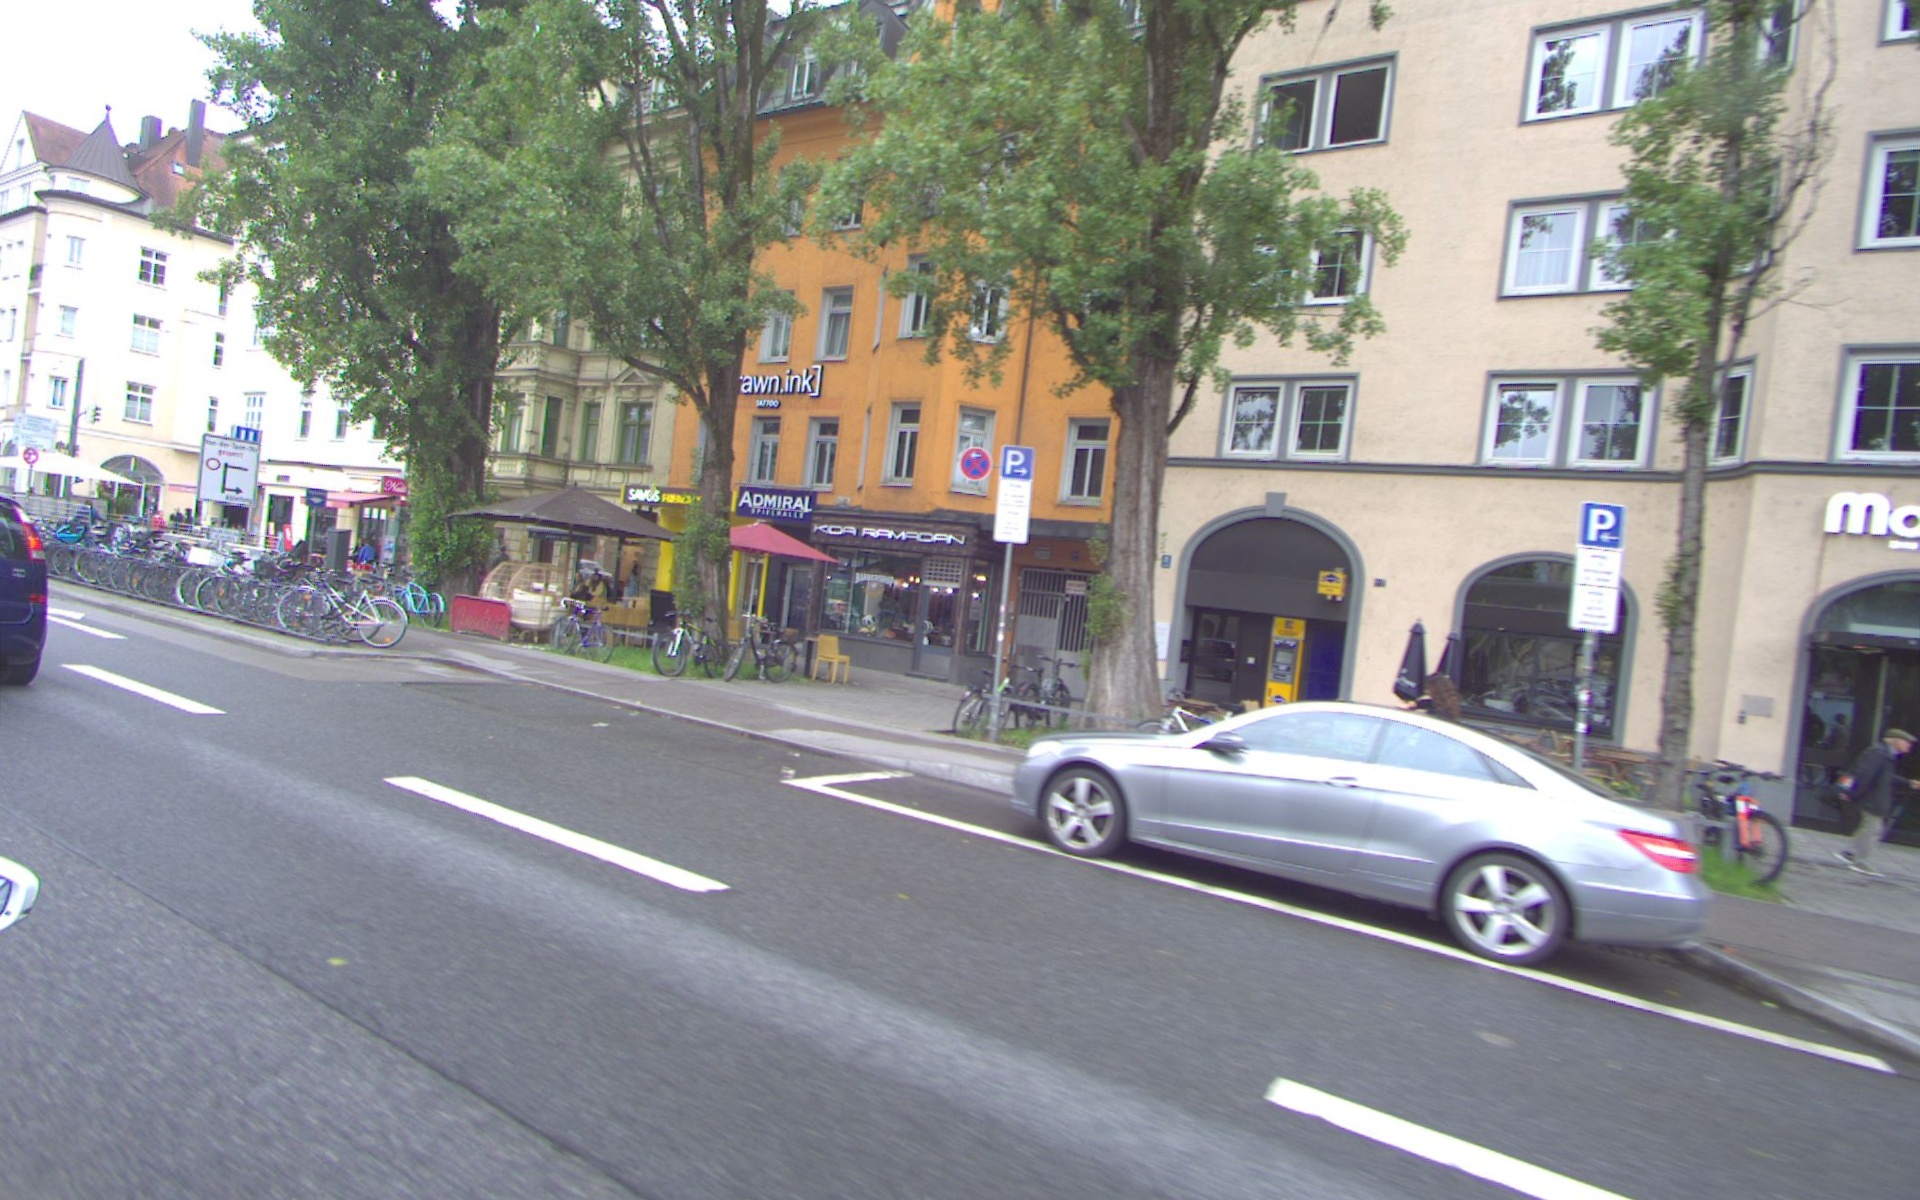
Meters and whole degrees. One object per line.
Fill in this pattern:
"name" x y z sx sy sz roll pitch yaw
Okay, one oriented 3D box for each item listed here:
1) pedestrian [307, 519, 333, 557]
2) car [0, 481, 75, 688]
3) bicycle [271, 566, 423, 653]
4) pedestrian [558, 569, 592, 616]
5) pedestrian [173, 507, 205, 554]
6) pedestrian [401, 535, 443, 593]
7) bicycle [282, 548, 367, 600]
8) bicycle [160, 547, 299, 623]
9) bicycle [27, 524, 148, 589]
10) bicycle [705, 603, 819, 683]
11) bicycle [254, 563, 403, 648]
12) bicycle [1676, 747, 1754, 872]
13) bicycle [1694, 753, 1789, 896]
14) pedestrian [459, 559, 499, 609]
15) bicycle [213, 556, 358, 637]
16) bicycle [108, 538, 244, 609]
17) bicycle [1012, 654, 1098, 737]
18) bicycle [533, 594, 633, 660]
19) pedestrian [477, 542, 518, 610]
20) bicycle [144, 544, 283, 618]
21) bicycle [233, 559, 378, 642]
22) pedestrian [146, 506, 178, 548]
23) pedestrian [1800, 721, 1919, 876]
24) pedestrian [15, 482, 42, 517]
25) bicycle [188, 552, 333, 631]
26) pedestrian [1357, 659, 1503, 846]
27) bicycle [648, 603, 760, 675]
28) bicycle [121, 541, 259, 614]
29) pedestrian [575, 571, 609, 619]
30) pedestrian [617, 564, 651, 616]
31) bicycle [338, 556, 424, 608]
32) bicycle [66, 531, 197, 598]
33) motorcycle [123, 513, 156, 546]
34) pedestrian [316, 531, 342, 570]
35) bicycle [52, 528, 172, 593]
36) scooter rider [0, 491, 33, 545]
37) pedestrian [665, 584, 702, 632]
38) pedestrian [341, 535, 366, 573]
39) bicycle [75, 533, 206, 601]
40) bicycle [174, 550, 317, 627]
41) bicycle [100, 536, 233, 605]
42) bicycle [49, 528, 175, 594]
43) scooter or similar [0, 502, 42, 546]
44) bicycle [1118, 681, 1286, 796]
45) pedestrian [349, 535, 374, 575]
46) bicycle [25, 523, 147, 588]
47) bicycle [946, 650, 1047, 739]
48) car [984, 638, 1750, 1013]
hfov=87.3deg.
"pedestrian" -25.509 -2.469 40.078 0.542 1.414 0.543 7 1 5
"car" -9.173 -0.329 8.371 3.498 1.609 1.705 7 -1 32
"bicycle" -9.024 0.148 14.842 1.811 1.008 0.375 9 1 -8
"pedestrian" -11.407 -0.229 29.792 0.573 1.296 0.584 7 1 31
"pedestrian" -28.716 -2.580 37.464 0.666 1.653 0.615 7 1 32
"pedestrian" -16.301 -1.087 30.484 0.773 1.653 0.711 7 1 32
"bicycle" -15.489 -0.623 24.573 0.380 1.058 1.727 9 0 26
"bicycle" -12.397 -0.252 17.116 1.814 1.008 0.374 9 1 -14
"bicycle" -17.343 -0.857 20.019 1.812 1.008 0.324 9 1 -12
"bicycle" -3.241 0.739 16.646 0.573 1.188 1.889 7 0 33
"bicycle" -9.530 0.089 15.217 1.811 1.008 0.375 9 1 -8
"bicycle" 8.211 2.238 10.985 0.440 1.123 1.799 7 -1 33
"bicycle" 7.284 2.043 9.429 0.440 1.122 1.801 7 -2 33
"pedestrian" -12.921 -0.427 27.017 0.655 1.237 0.601 7 1 32
"bicycle" -10.712 -0.051 16.019 1.813 1.008 0.374 9 1 -14
"bicycle" -14.159 -0.465 18.213 1.817 1.008 0.373 9 1 -21
"bicycle" 1.457 1.418 15.134 0.450 1.127 1.891 7 0 29
"bicycle" -6.427 0.453 17.110 1.862 0.903 0.457 7 1 31
"pedestrian" -12.654 -0.659 27.546 0.655 1.761 0.601 7 1 32
"bicycle" -12.987 -0.321 17.535 1.817 1.008 0.373 9 1 -21
"bicycle" -10.150 0.016 15.636 1.811 1.008 0.375 9 1 -8
"pedestrian" -29.519 -2.703 37.224 0.606 1.440 0.676 7 1 32
"pedestrian" 10.702 2.319 11.824 0.837 1.622 0.819 6 1 -19
"pedestrian" -49.849 -5.365 53.838 0.672 1.707 0.744 8 3 -14
"bicycle" -11.352 -0.130 16.378 1.815 1.008 0.374 9 1 -17
"pedestrian" 4.372 1.411 9.378 0.754 1.582 0.757 7 1 -28
"bicycle" -4.209 0.677 16.666 0.451 1.067 1.889 7 0 33
"bicycle" -13.570 -0.397 17.774 1.817 1.008 0.373 9 1 -21
"pedestrian" -10.722 -0.147 29.339 0.573 1.296 0.584 7 1 31
"pedestrian" -10.070 -0.309 31.094 0.574 1.493 0.625 7 1 34
"bicycle" -14.307 -0.439 24.908 0.382 1.058 1.720 9 0 42
"bicycle" -15.862 -0.670 19.297 1.820 1.008 0.323 9 1 -26
"motorcycle" -32.774 -2.817 40.177 1.545 1.171 0.487 7 1 33
"pedestrian" -22.641 -1.765 36.116 0.543 1.305 0.495 7 1 32
"bicycle" -16.747 -0.776 19.891 1.812 1.008 0.324 9 1 -11
"scooter rider" -26.655 -2.317 28.235 0.632 1.406 0.701 7 1 30
"pedestrian" -7.587 0.230 27.594 0.573 1.233 0.623 7 1 31
"pedestrian" -22.216 -1.675 36.848 0.543 1.305 0.495 7 1 32
"bicycle" -15.377 -0.615 18.917 1.817 1.008 0.323 9 1 -21
"bicycle" -11.884 -0.191 16.786 1.817 1.008 0.373 9 1 -20
"bicycle" -14.714 -0.530 18.709 1.825 1.008 0.372 9 0 -34
"bicycle" -16.451 -0.746 19.553 1.814 1.008 0.324 9 1 -16
"scooter or similar" -26.555 -2.141 28.217 1.235 1.088 0.776 7 1 30
"bicycle" 2.674 1.508 11.190 1.626 0.977 0.589 7 1 32
"pedestrian" -21.498 -1.599 36.133 0.543 1.349 0.495 7 1 32
"bicycle" -17.652 -0.889 20.344 1.814 1.008 0.324 9 1 -16
"bicycle" 0.527 1.251 13.517 0.450 1.067 1.891 7 0 29
"car" 2.661 1.311 7.310 4.452 1.458 1.997 7 0 30
